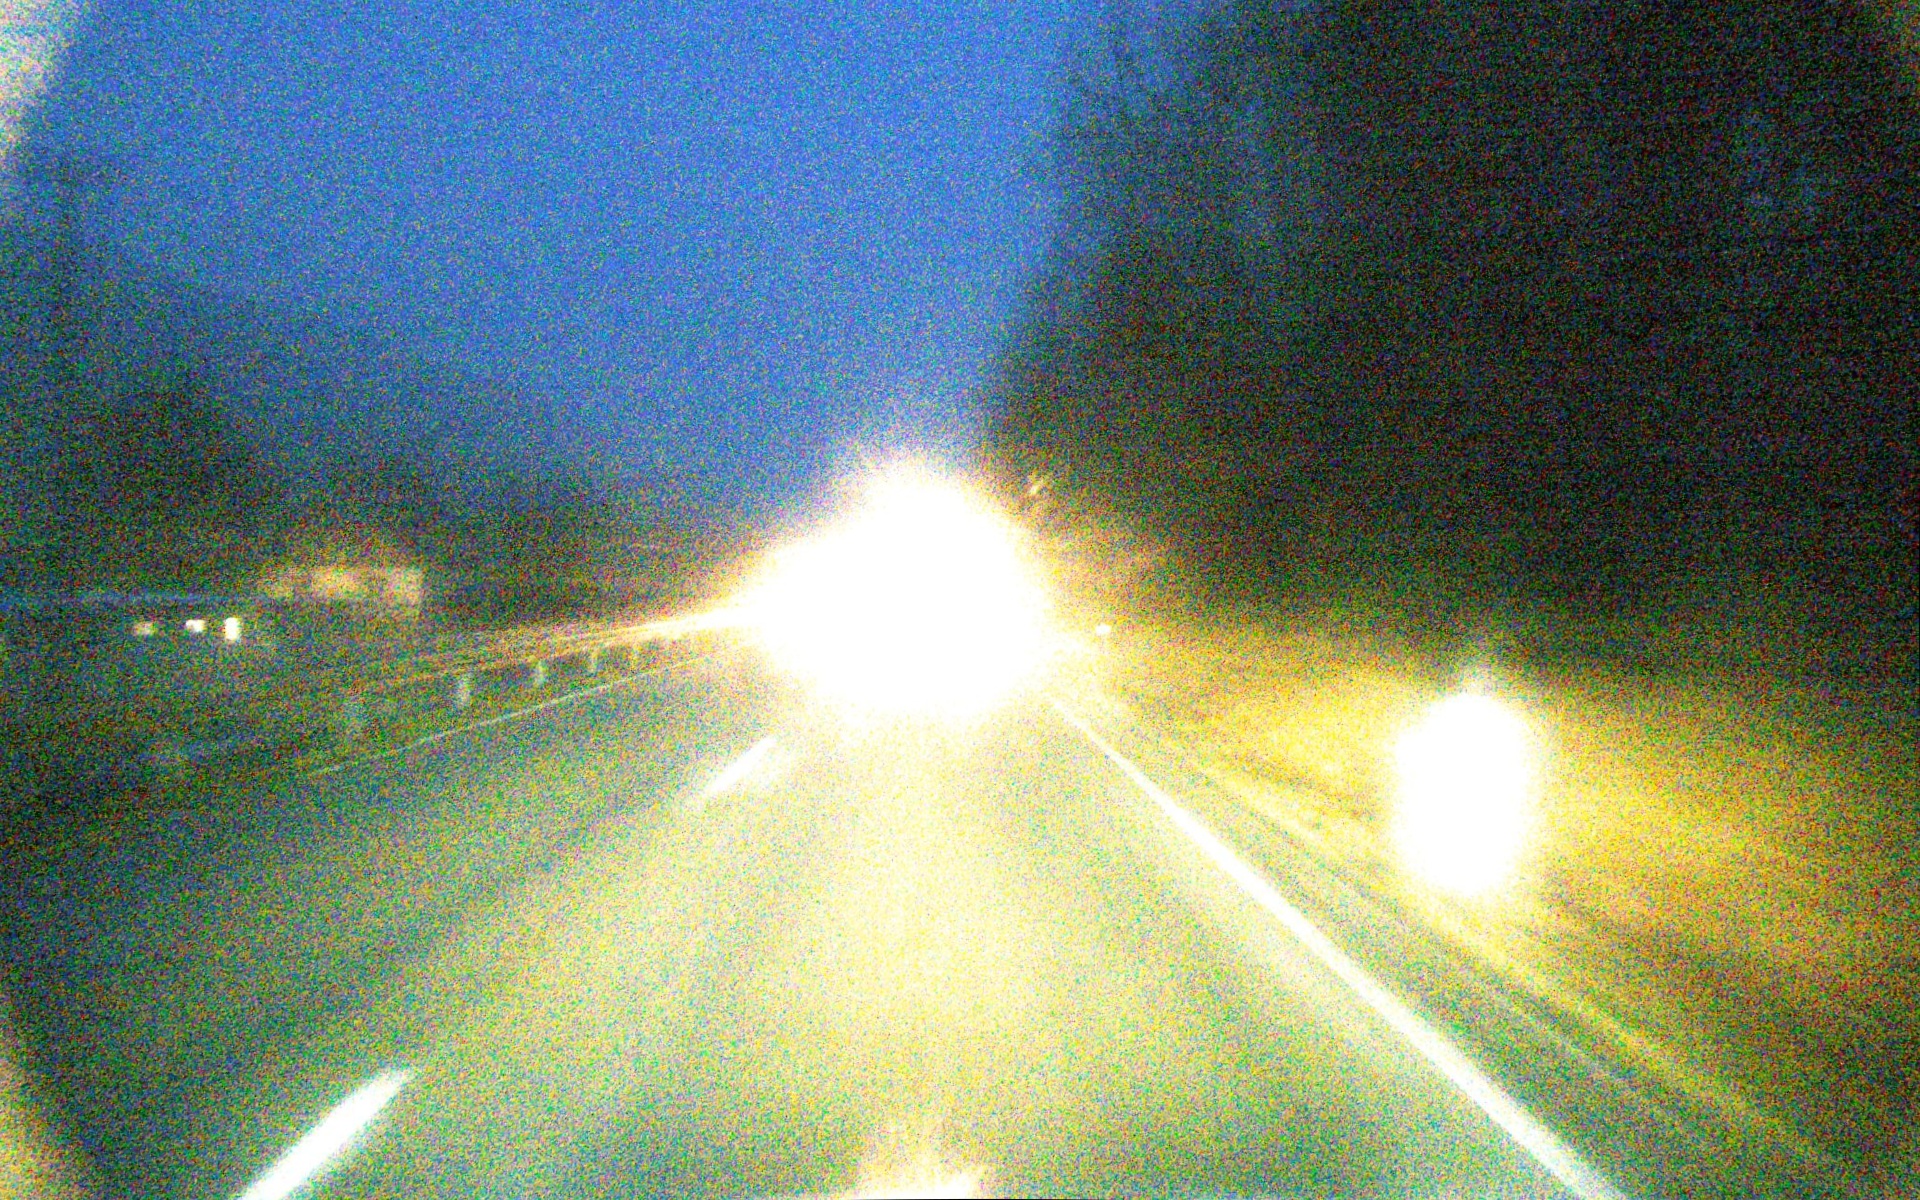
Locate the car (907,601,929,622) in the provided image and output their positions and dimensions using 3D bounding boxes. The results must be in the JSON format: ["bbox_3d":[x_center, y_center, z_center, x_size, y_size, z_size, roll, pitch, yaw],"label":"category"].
[{"bbox_3d":[-3.966,1.099,157.739,1.953,1.856,4.562,2,0,-1],"label":"car"}]
